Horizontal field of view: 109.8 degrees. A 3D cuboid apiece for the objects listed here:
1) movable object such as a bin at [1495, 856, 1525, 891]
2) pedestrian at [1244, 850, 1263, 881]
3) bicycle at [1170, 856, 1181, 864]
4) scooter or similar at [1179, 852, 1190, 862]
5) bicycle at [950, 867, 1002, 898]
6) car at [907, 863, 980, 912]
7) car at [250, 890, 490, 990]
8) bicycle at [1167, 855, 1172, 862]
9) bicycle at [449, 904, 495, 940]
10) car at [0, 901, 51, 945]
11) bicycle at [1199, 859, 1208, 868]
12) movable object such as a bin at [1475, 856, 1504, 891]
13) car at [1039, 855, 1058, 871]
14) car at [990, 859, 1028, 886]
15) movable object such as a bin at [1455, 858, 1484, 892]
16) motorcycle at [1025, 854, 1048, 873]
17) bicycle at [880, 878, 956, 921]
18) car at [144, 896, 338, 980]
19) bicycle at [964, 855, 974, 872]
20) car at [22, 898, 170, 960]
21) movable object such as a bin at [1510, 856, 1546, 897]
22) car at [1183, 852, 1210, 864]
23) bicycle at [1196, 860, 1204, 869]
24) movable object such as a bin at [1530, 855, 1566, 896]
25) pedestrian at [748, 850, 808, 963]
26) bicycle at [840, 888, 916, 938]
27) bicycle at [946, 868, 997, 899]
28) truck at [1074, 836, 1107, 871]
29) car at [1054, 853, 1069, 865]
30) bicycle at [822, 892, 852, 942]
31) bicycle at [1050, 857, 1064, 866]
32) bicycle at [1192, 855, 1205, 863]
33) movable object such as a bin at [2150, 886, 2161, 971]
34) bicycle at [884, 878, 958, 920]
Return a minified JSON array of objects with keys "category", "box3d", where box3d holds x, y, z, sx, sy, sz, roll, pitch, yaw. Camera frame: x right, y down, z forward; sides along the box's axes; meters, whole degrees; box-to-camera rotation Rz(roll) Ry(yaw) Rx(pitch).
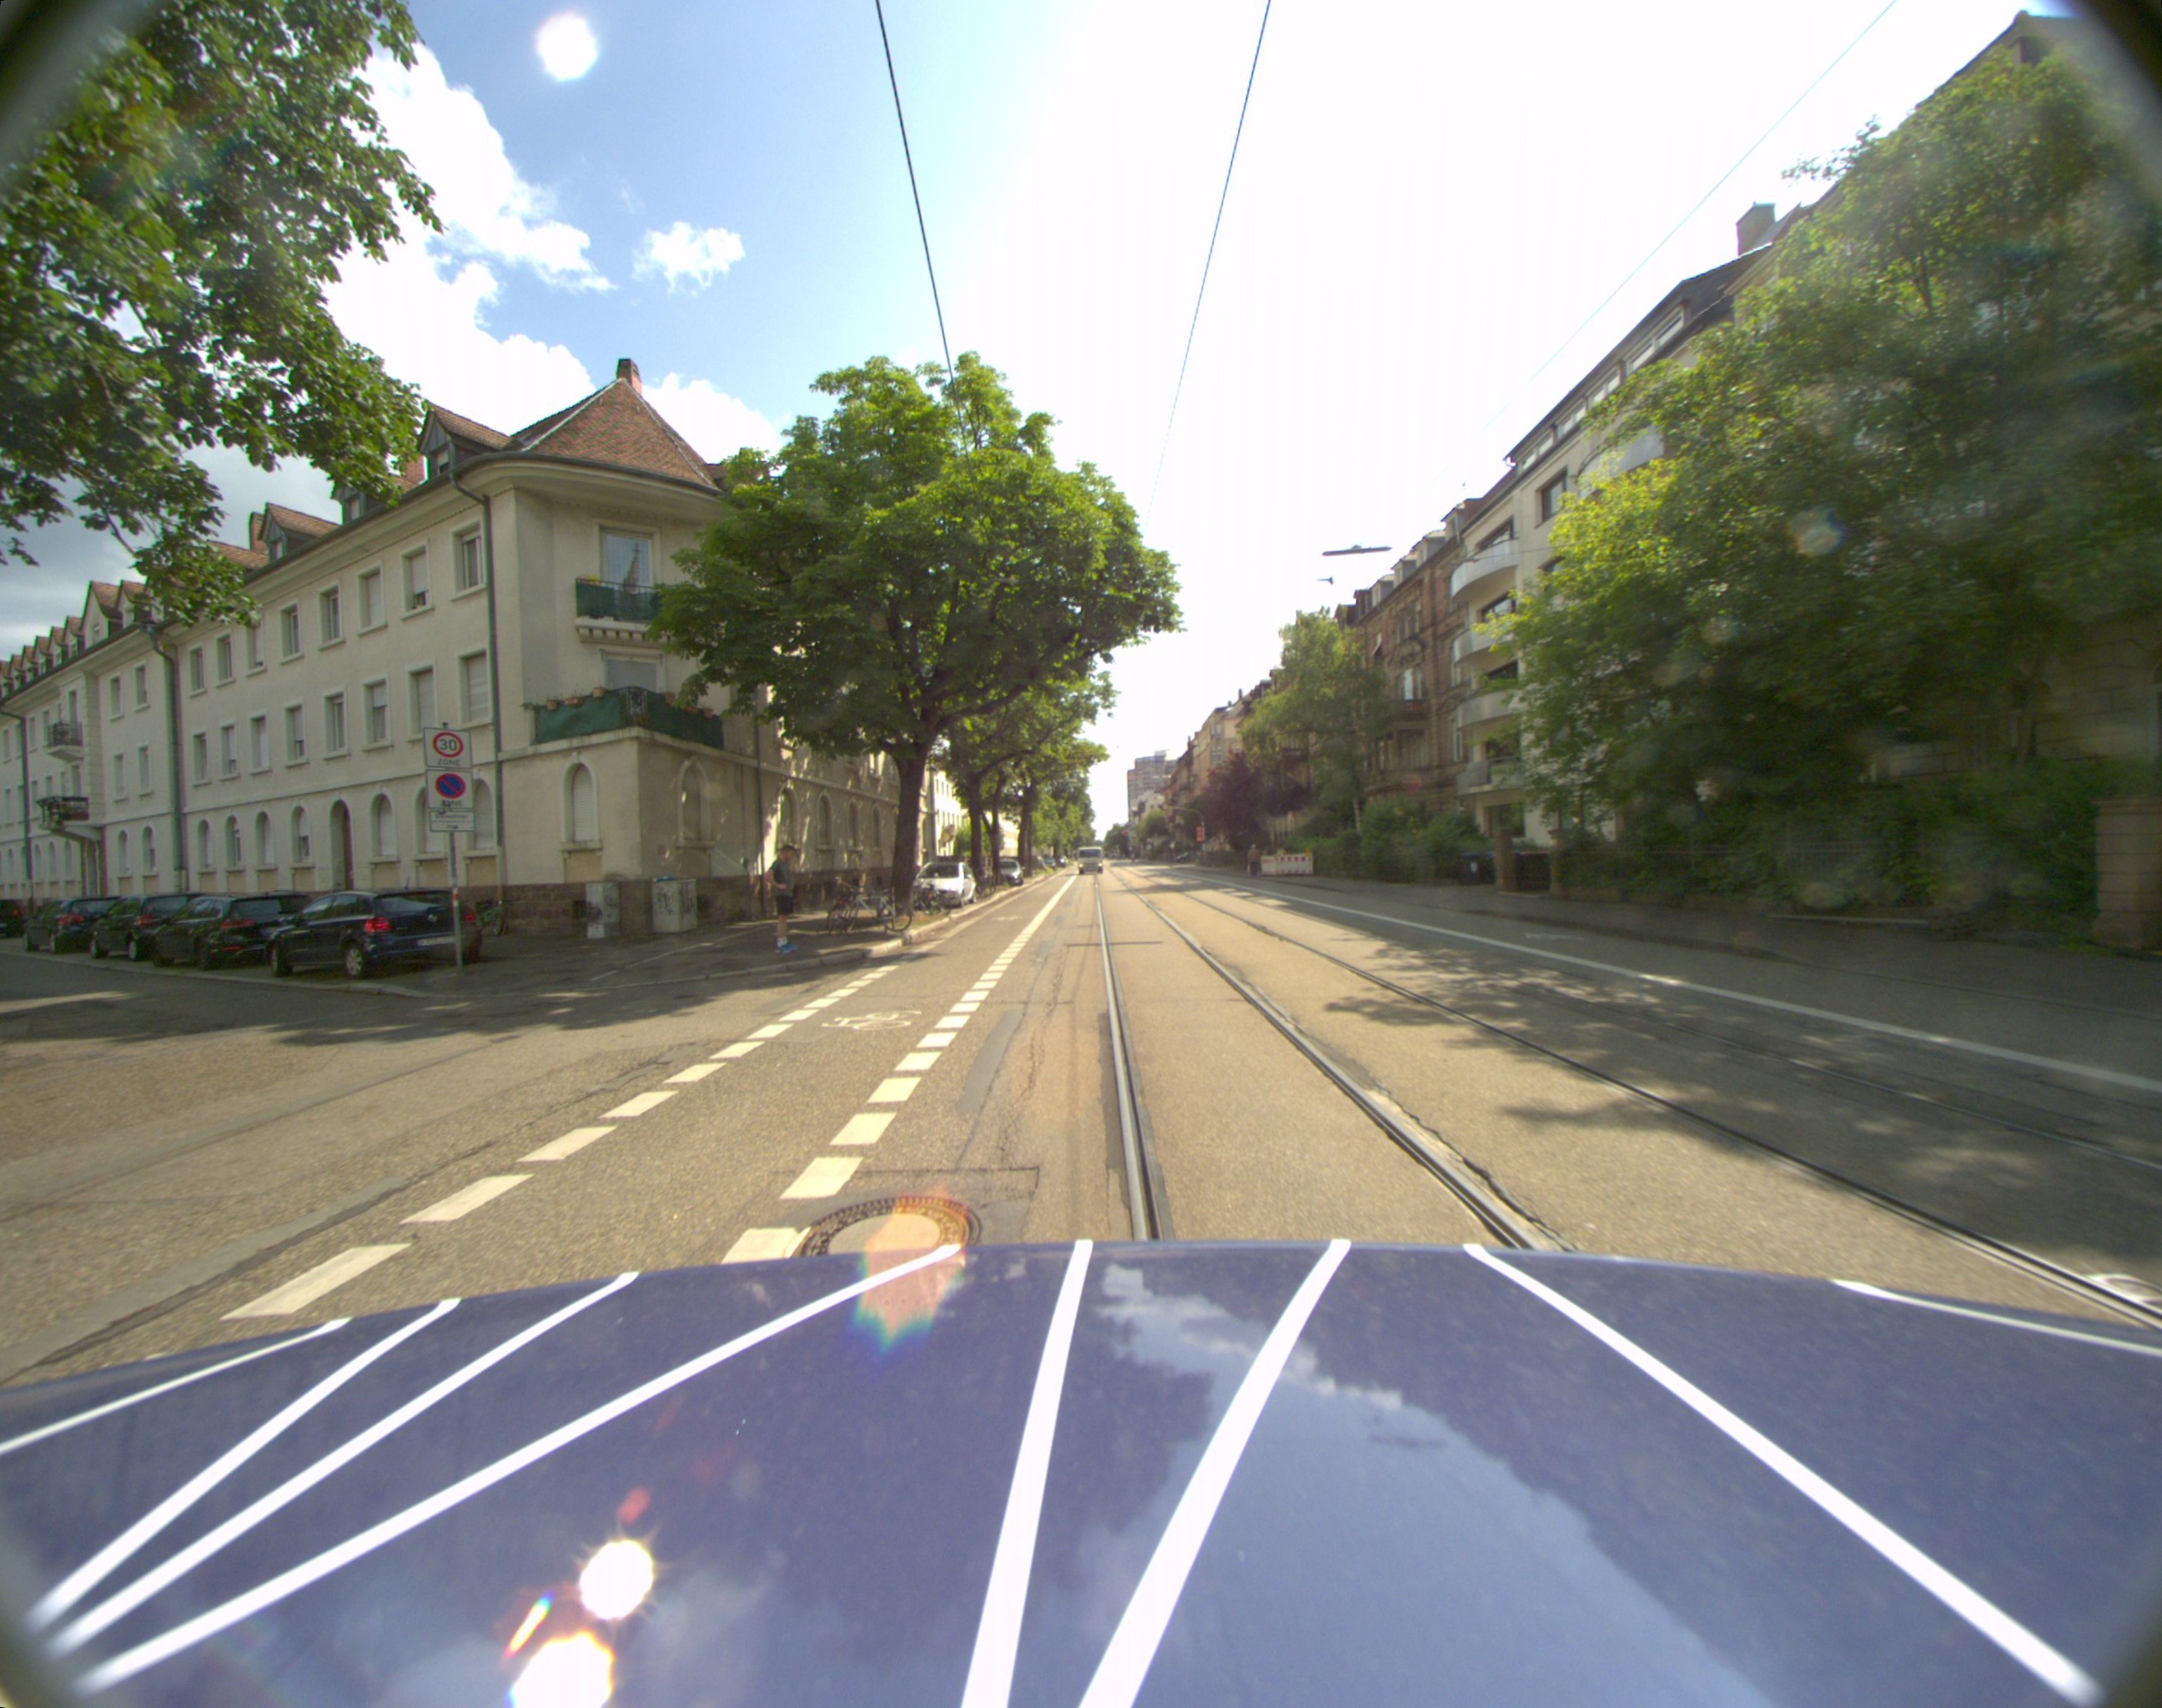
[{"category":"movable object such as a bin","box3d":[14.126,0.622,25.011,0.539,1.088,0.789,-2,2,1]},{"category":"pedestrian","box3d":[9.679,0.614,42.670,0.825,1.696,0.891,-2,1,-2]},{"category":"bicycle","box3d":[13.663,0.866,109.677,1.456,0.971,0.404,-2,0,1]},{"category":"scooter or similar","box3d":[13.741,0.362,101.096,1.367,1.228,0.403,-3,1,-28]},{"category":"bicycle","box3d":[-4.148,1.127,29.997,1.940,1.169,0.513,-1,2,12]},{"category":"car","box3d":[-4.452,1.036,25.100,1.670,1.422,3.766,0,0,1]},{"category":"car","box3d":[-12.268,1.410,13.118,3.556,1.398,1.711,-2,1,24]},{"category":"bicycle","box3d":[13.237,0.622,113.799,0.422,0.971,1.949,-2,0,0]},{"category":"bicycle","box3d":[-14.320,1.588,17.866,1.350,0.818,0.322,-2,1,29]},{"category":"car","box3d":[-39.685,2.519,27.759,3.734,1.472,1.714,-2,0,26]},{"category":"bicycle","box3d":[12.223,0.938,75.792,0.531,0.941,1.968,-2,0,1]},{"category":"movable object such as a bin","box3d":[13.468,0.637,25.070,0.539,1.088,0.789,-2,2,1]},{"category":"car","box3d":[-3.405,0.903,80.726,1.710,1.470,4.196,-4,0,1]},{"category":"car","box3d":[-3.922,0.988,42.105,1.851,1.401,4.393,0,0,-2]},{"category":"movable object such as a bin","box3d":[12.803,0.681,25.037,0.539,1.088,0.789,-2,2,1]},{"category":"motorcycle","box3d":[-3.879,0.812,65.780,0.680,1.588,2.381,-2,0,-40]},{"category":"bicycle","box3d":[-4.398,1.225,20.558,1.908,1.066,0.402,-2,1,1]},{"category":"car","box3d":[-17.201,1.647,15.549,3.710,1.416,1.665,-2,1,27]},{"category":"bicycle","box3d":[-8.183,0.660,55.620,0.413,1.204,1.704,-2,0,1]},{"category":"car","box3d":[-27.157,2.013,20.947,3.734,1.472,1.714,-2,0,26]},{"category":"movable object such as a bin","box3d":[12.553,0.633,21.346,0.550,1.102,0.789,-2,1,6]},{"category":"car","box3d":[16.437,0.564,107.959,3.611,1.395,1.787,-3,0,5]},{"category":"bicycle","box3d":[12.413,1.118,79.372,0.531,0.941,1.968,-2,0,1]},{"category":"movable object such as a bin","box3d":[13.129,0.601,21.375,0.550,1.102,0.789,-2,1,6]},{"category":"pedestrian","box3d":[-5.169,0.870,13.008,0.612,1.826,0.878,-2,2,-1]},{"category":"bicycle","box3d":[-4.230,1.230,15.871,1.495,0.978,0.259,-1,1,3]},{"category":"bicycle","box3d":[-4.242,1.155,29.455,1.897,1.169,0.513,-1,2,12]},{"category":"truck","box3d":[0.736,-0.028,64.579,2.532,2.722,6.514,-2,0,-1]},{"category":"car","box3d":[-2.834,0.763,110.646,1.867,1.643,4.637,-2,0,0]},{"category":"bicycle","box3d":[-5.169,1.311,16.124,0.259,0.895,1.771,-2,1,-7]},{"category":"bicycle","box3d":[-2.967,0.958,95.799,1.712,1.001,0.638,-2,0,1]},{"category":"bicycle","box3d":[16.032,0.715,103.745,1.759,1.057,0.524,-2,0,-5]},{"category":"movable object such as a bin","box3d":[11.471,0.764,7.642,0.563,0.871,0.616,-2,1,1]},{"category":"bicycle","box3d":[-4.397,1.229,20.975,1.908,1.066,0.402,-2,1,1]}]
